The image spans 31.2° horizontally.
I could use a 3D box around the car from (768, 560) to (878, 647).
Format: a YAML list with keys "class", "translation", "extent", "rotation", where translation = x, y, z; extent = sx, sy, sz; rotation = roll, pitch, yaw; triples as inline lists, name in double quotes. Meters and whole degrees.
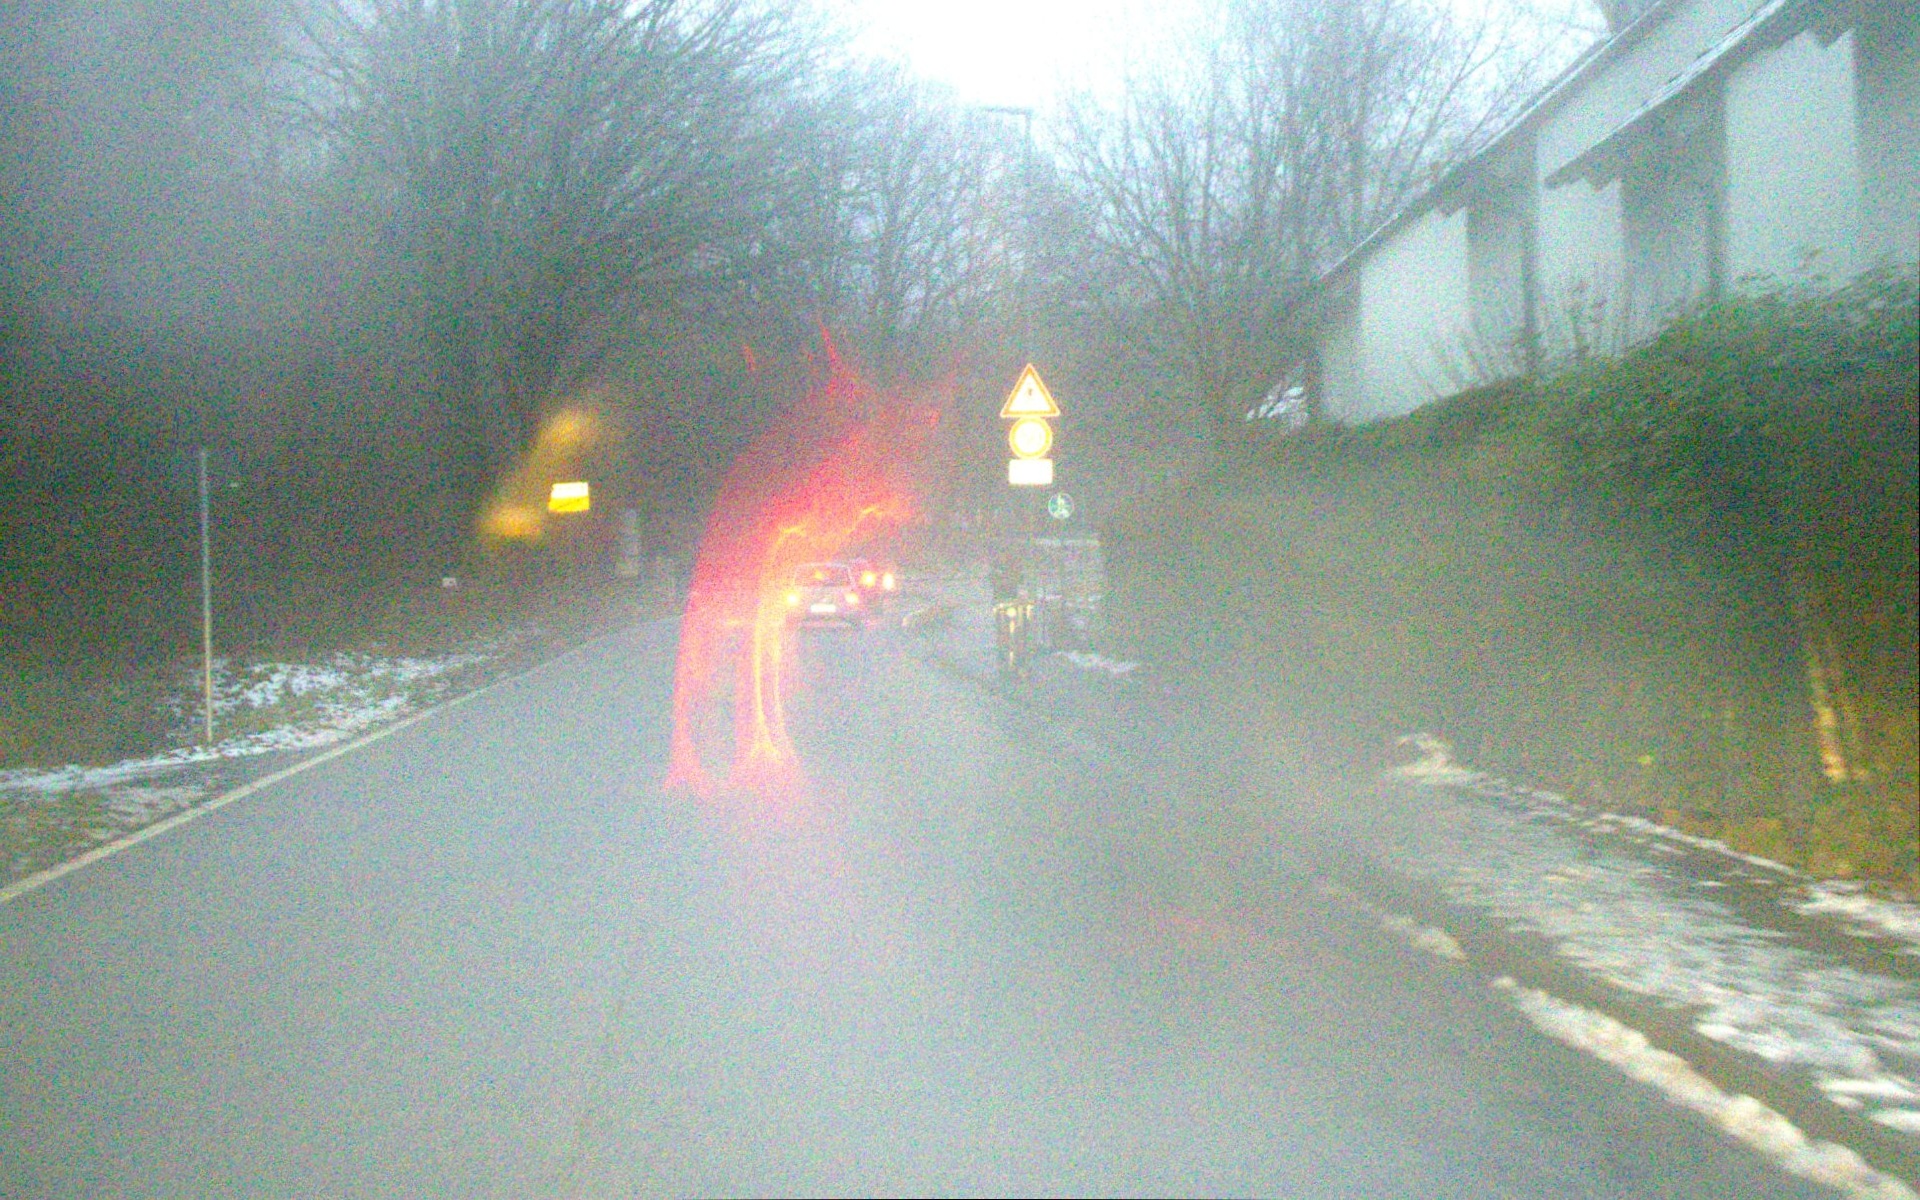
- class: "car"
  translation: [-2.915, 0.046, 73.972]
  extent: [1.933, 1.775, 4.000]
  rotation: [-1, 1, 4]
